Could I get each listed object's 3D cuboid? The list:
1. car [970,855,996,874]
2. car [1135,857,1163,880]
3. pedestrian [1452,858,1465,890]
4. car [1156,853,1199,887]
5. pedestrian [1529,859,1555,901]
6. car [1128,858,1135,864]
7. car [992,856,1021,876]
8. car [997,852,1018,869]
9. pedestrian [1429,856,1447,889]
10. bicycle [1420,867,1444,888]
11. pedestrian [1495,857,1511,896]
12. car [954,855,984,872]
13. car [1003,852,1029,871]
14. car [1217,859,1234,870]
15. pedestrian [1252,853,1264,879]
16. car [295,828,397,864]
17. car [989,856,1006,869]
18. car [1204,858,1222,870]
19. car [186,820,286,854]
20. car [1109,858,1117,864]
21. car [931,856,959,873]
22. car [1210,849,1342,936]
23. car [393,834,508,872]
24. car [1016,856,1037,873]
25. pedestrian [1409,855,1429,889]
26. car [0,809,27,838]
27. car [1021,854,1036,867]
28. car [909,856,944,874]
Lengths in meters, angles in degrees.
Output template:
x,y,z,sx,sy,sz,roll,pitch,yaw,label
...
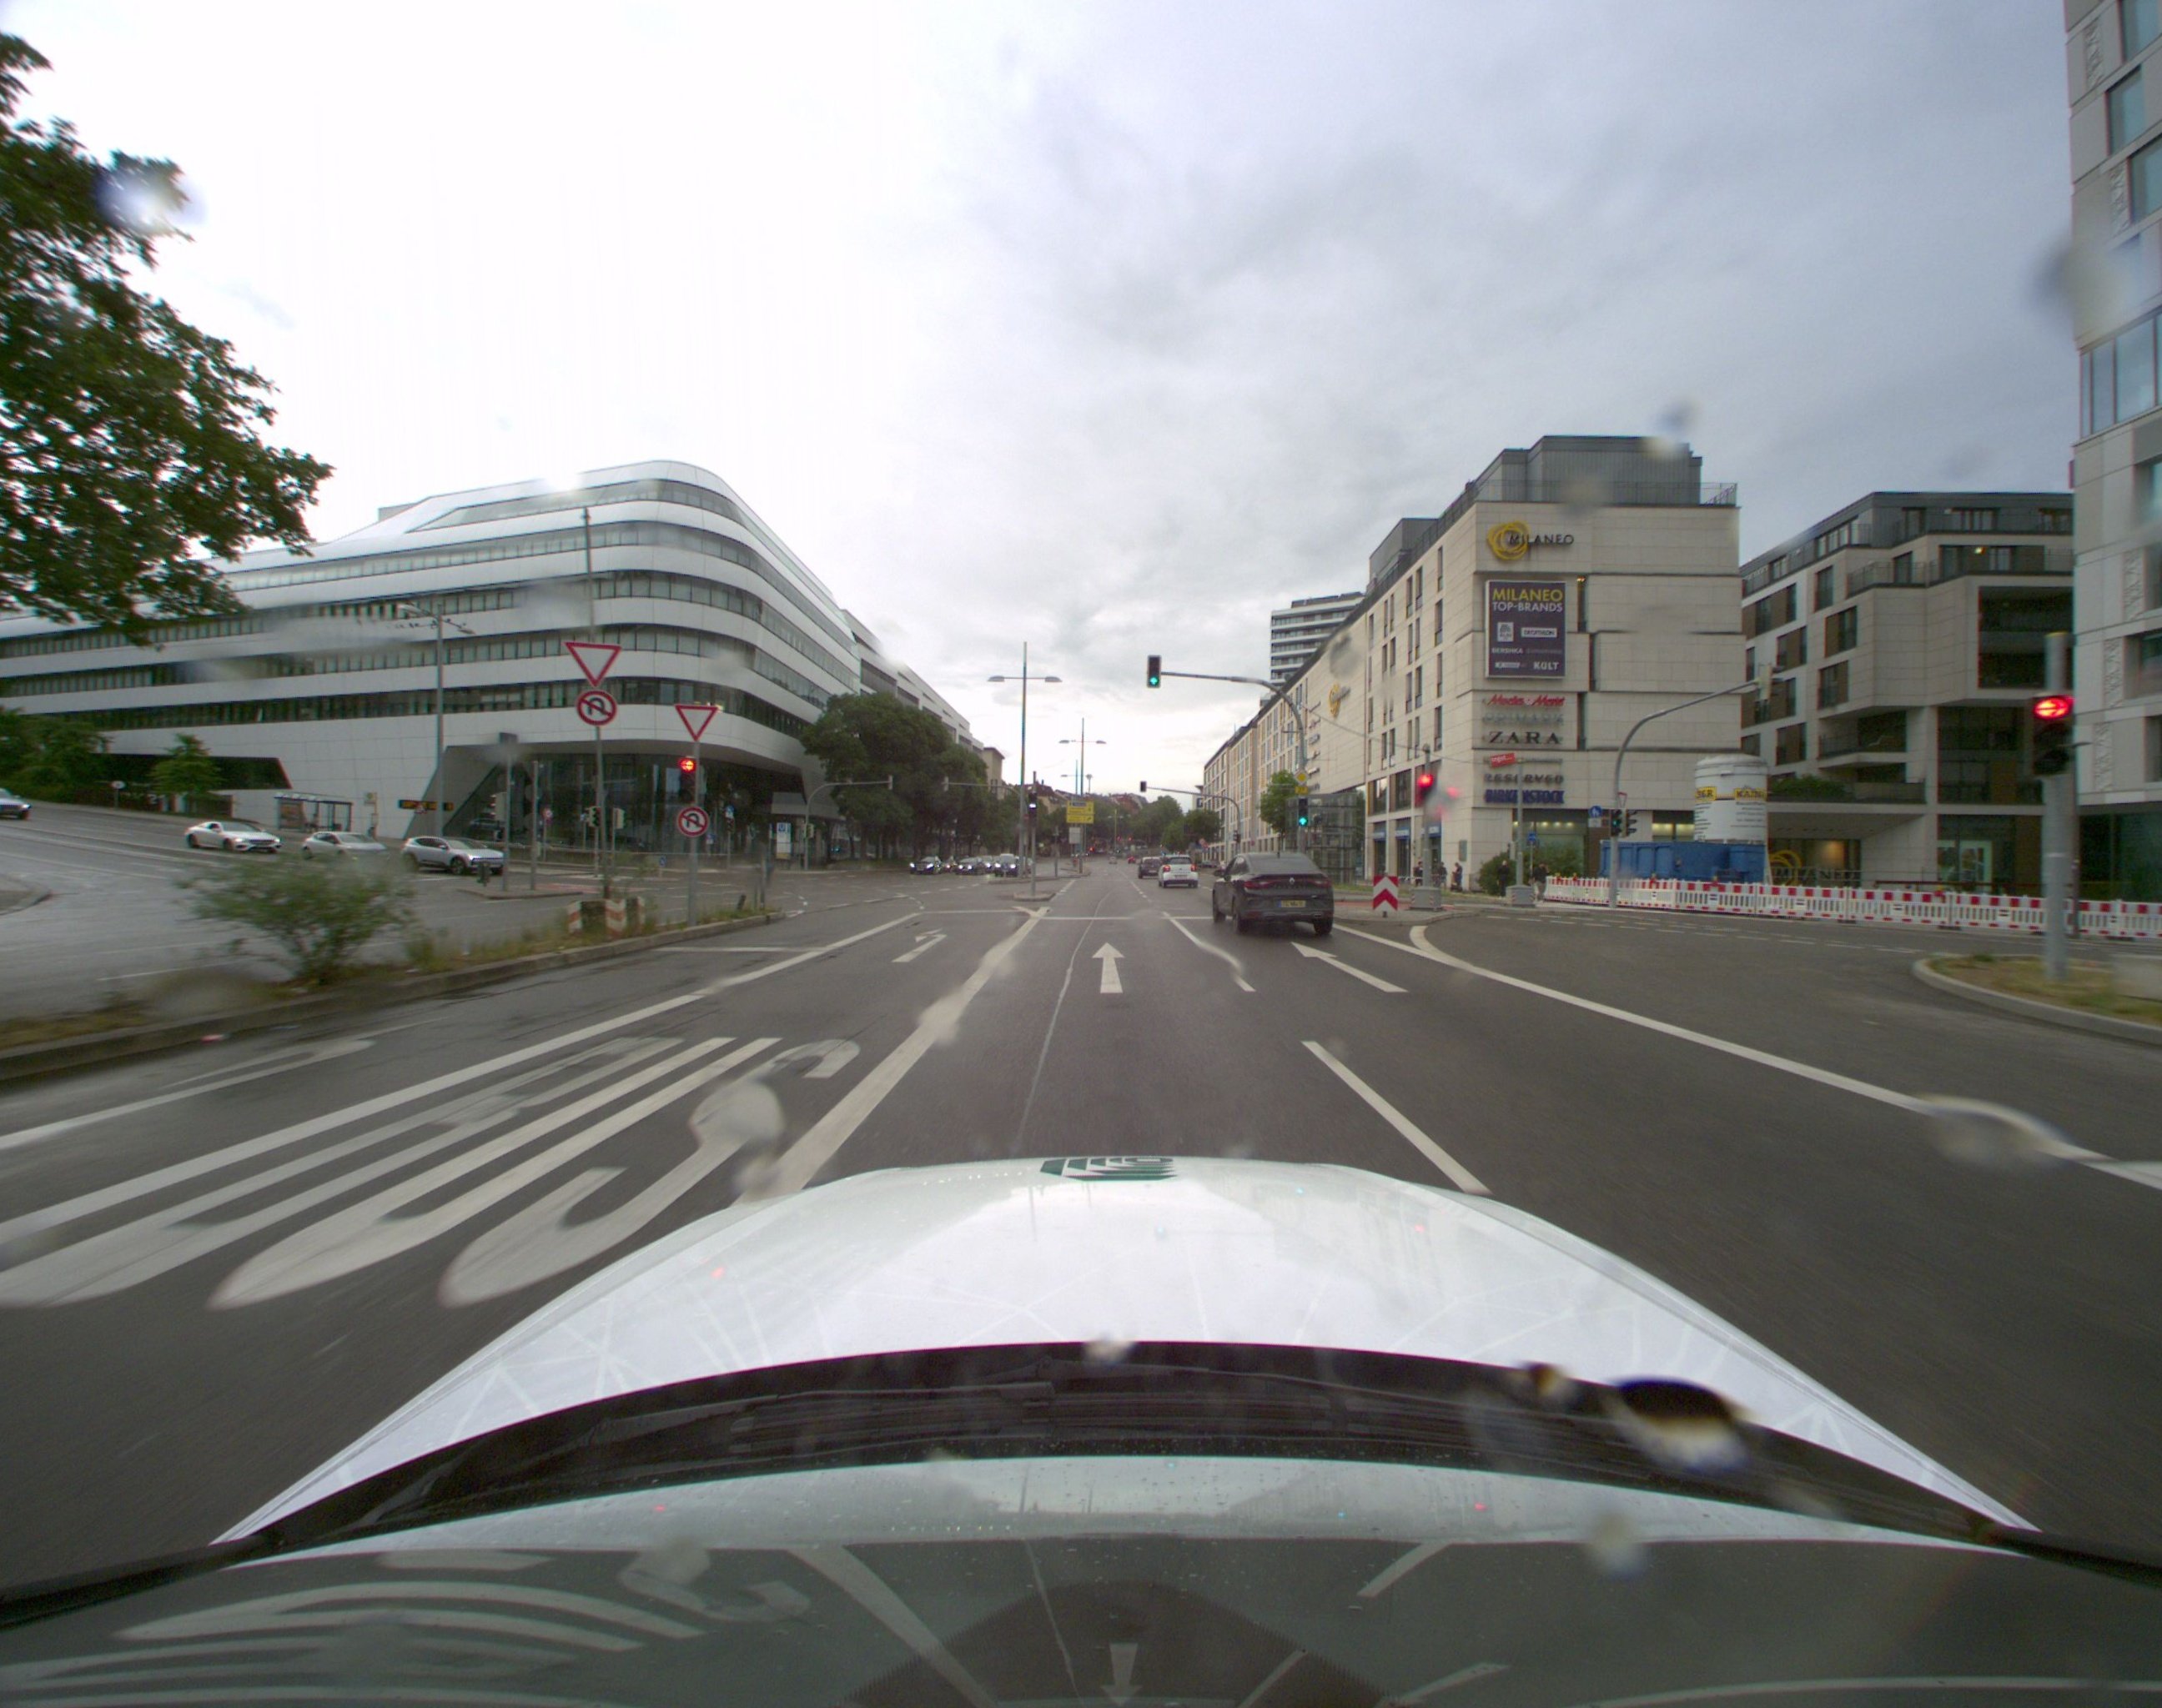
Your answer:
x,y,z,sx,sy,sz,roll,pitch,yaw,label
-8.502,0.899,70.935,1.736,1.559,3.541,0,-1,2,car
4.667,0.961,56.414,1.733,1.531,3.816,0,-1,2,car
20.146,1.063,43.491,0.588,1.642,0.591,-1,-1,27,pedestrian
4.584,0.754,39.033,1.718,1.531,3.816,0,-1,2,car
18.903,1.062,33.409,0.619,1.672,0.824,0,-1,2,pedestrian
12.433,1.750,201.459,1.733,1.531,3.816,0,-1,2,car
-5.718,0.922,62.677,1.736,1.444,3.396,0,-1,2,car
-7.827,0.711,86.610,1.736,1.748,3.541,0,-1,2,car
17.496,0.898,39.939,0.548,1.611,0.698,0,-1,2,pedestrian
17.246,1.156,40.085,0.447,1.016,1.743,0,-1,1,bicycle
19.713,1.040,38.048,0.588,1.780,0.443,-1,-1,25,pedestrian
-8.803,0.725,64.291,1.736,1.257,3.541,1,1,2,car
-5.473,0.603,69.027,1.696,1.559,4.246,0,-1,2,car
16.840,1.229,94.773,1.500,1.266,3.504,0,-1,2,car
12.308,0.846,56.716,0.724,1.832,0.511,0,-1,2,pedestrian
-35.677,-0.352,39.543,3.955,1.631,1.903,-1,-1,18,car
-11.415,1.165,111.376,1.736,1.748,3.541,0,-1,2,car
16.267,1.218,100.327,1.654,1.400,3.834,0,-1,2,car
-42.832,-0.843,41.301,3.955,1.631,1.903,1,0,18,car
7.442,1.627,189.187,1.736,1.531,3.811,0,0,-2,car
-11.825,0.939,70.993,1.736,1.423,3.541,0,-1,2,car
3.796,0.678,16.605,1.784,1.506,4.341,0,1,2,car
-28.502,-0.006,36.825,4.465,1.631,1.903,-1,-1,18,car
-5.000,0.966,75.428,1.532,1.477,3.698,0,-1,2,car
16.511,0.879,39.803,0.610,1.611,0.819,0,-1,2,pedestrian
-63.743,-1.837,47.231,3.955,1.631,1.903,2,0,18,car
-7.265,0.948,112.406,1.736,1.748,3.541,0,-1,2,car
-11.805,0.839,62.495,1.736,1.328,4.227,0,-1,2,car
